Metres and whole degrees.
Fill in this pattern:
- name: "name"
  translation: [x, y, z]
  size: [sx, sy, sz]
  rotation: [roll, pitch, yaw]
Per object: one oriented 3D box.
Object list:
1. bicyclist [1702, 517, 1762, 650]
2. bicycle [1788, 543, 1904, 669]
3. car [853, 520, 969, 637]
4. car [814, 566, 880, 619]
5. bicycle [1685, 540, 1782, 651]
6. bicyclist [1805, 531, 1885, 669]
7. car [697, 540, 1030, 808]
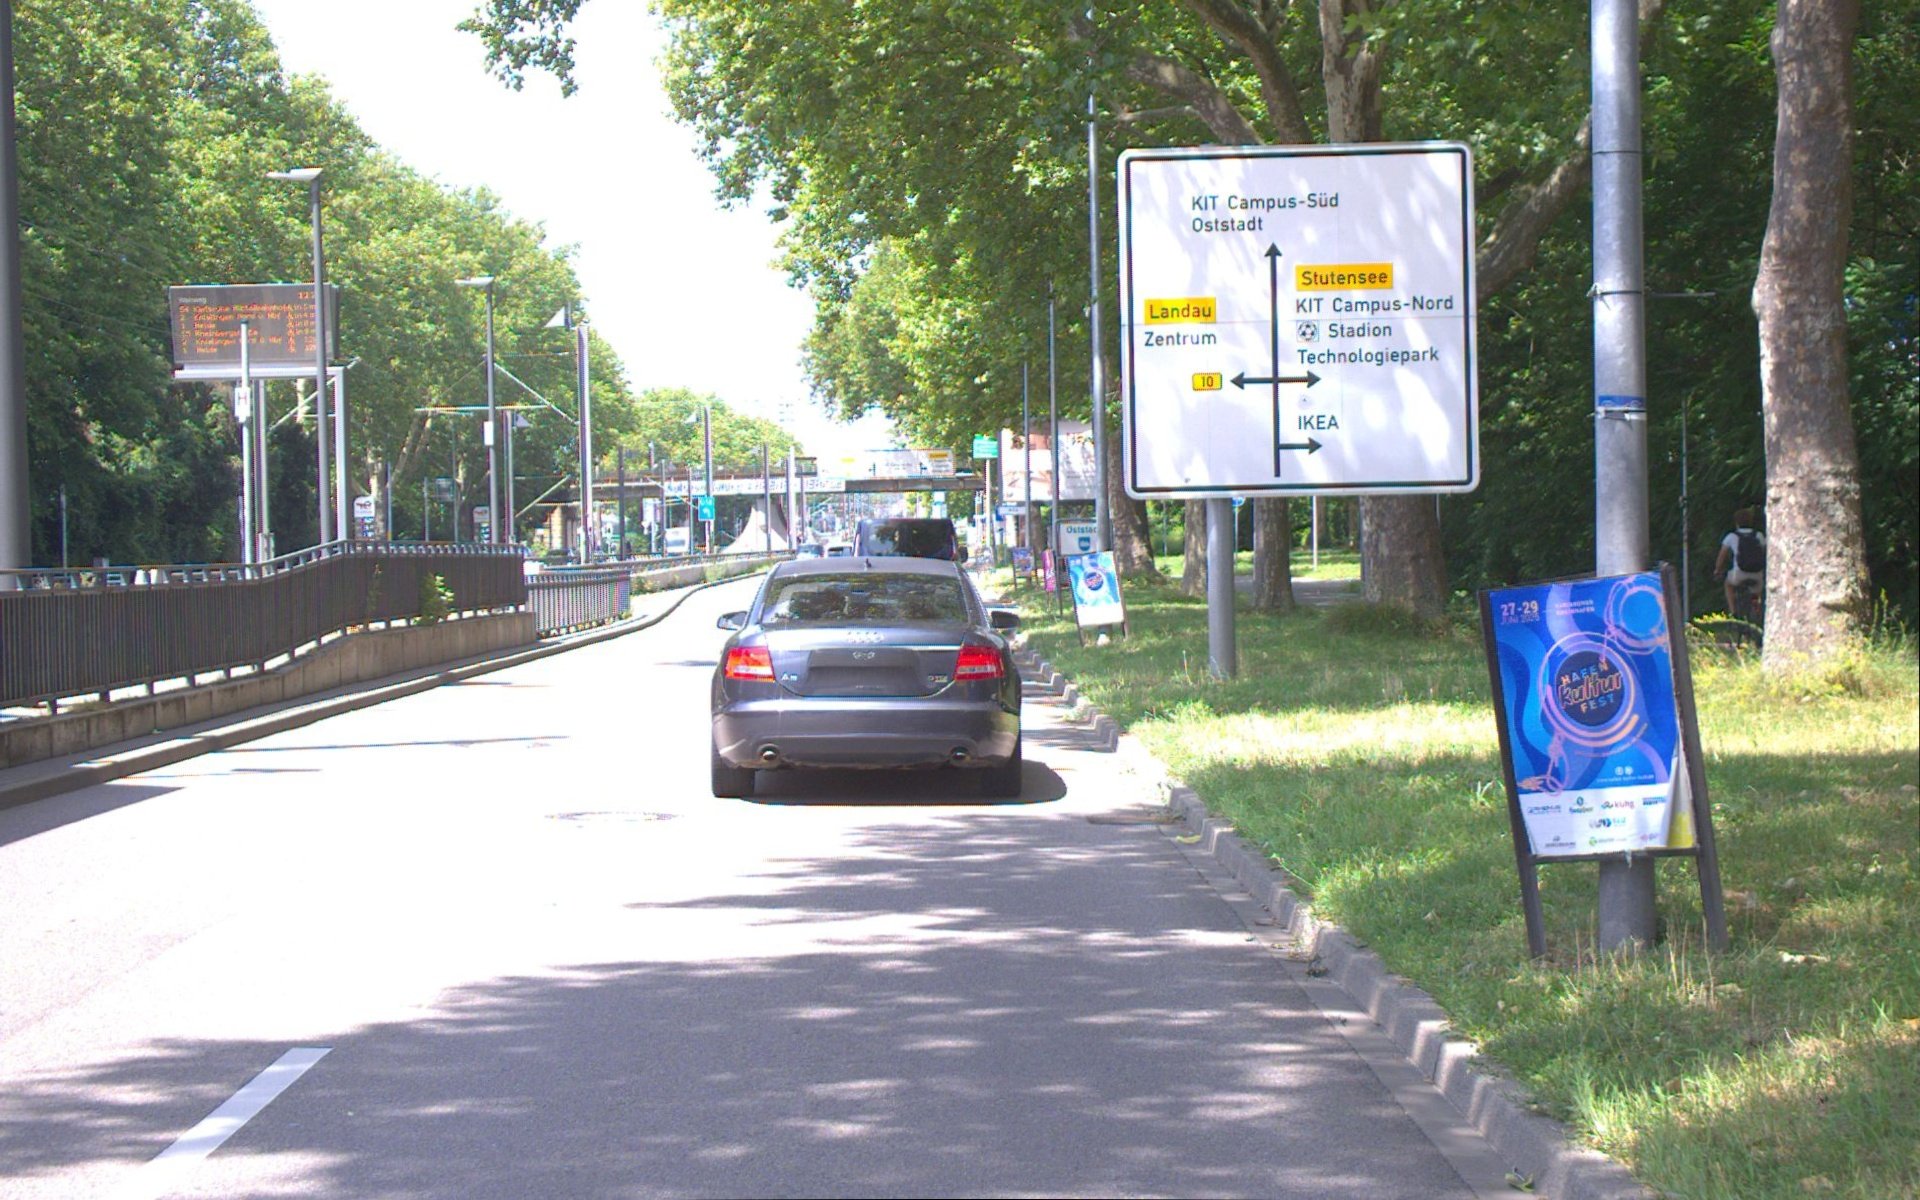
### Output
- name: "bicyclist"
  translation: [10.175, -0.221, 45.322]
  size: [0.597, 1.740, 0.843]
  rotation: [0, 1, -1]
- name: "bicycle"
  translation: [10.361, 0.043, 40.297]
  size: [0.610, 1.415, 2.662]
  rotation: [-1, 1, -1]
- name: "car"
  translation: [-0.814, -0.385, 59.730]
  size: [1.848, 1.953, 4.144]
  rotation: [0, 1, 1]
- name: "car"
  translation: [-3.288, -0.227, 99.409]
  size: [1.845, 1.459, 4.000]
  rotation: [-1, 1, -2]
- name: "bicycle"
  translation: [10.159, -0.081, 45.233]
  size: [0.610, 1.415, 2.662]
  rotation: [-1, 1, -1]
- name: "bicyclist"
  translation: [10.371, -0.011, 40.312]
  size: [0.658, 1.593, 1.053]
  rotation: [-1, 1, 0]
- name: "car"
  translation: [-0.617, 0.431, 21.257]
  size: [1.842, 1.479, 4.000]
  rotation: [1, 0, -2]
